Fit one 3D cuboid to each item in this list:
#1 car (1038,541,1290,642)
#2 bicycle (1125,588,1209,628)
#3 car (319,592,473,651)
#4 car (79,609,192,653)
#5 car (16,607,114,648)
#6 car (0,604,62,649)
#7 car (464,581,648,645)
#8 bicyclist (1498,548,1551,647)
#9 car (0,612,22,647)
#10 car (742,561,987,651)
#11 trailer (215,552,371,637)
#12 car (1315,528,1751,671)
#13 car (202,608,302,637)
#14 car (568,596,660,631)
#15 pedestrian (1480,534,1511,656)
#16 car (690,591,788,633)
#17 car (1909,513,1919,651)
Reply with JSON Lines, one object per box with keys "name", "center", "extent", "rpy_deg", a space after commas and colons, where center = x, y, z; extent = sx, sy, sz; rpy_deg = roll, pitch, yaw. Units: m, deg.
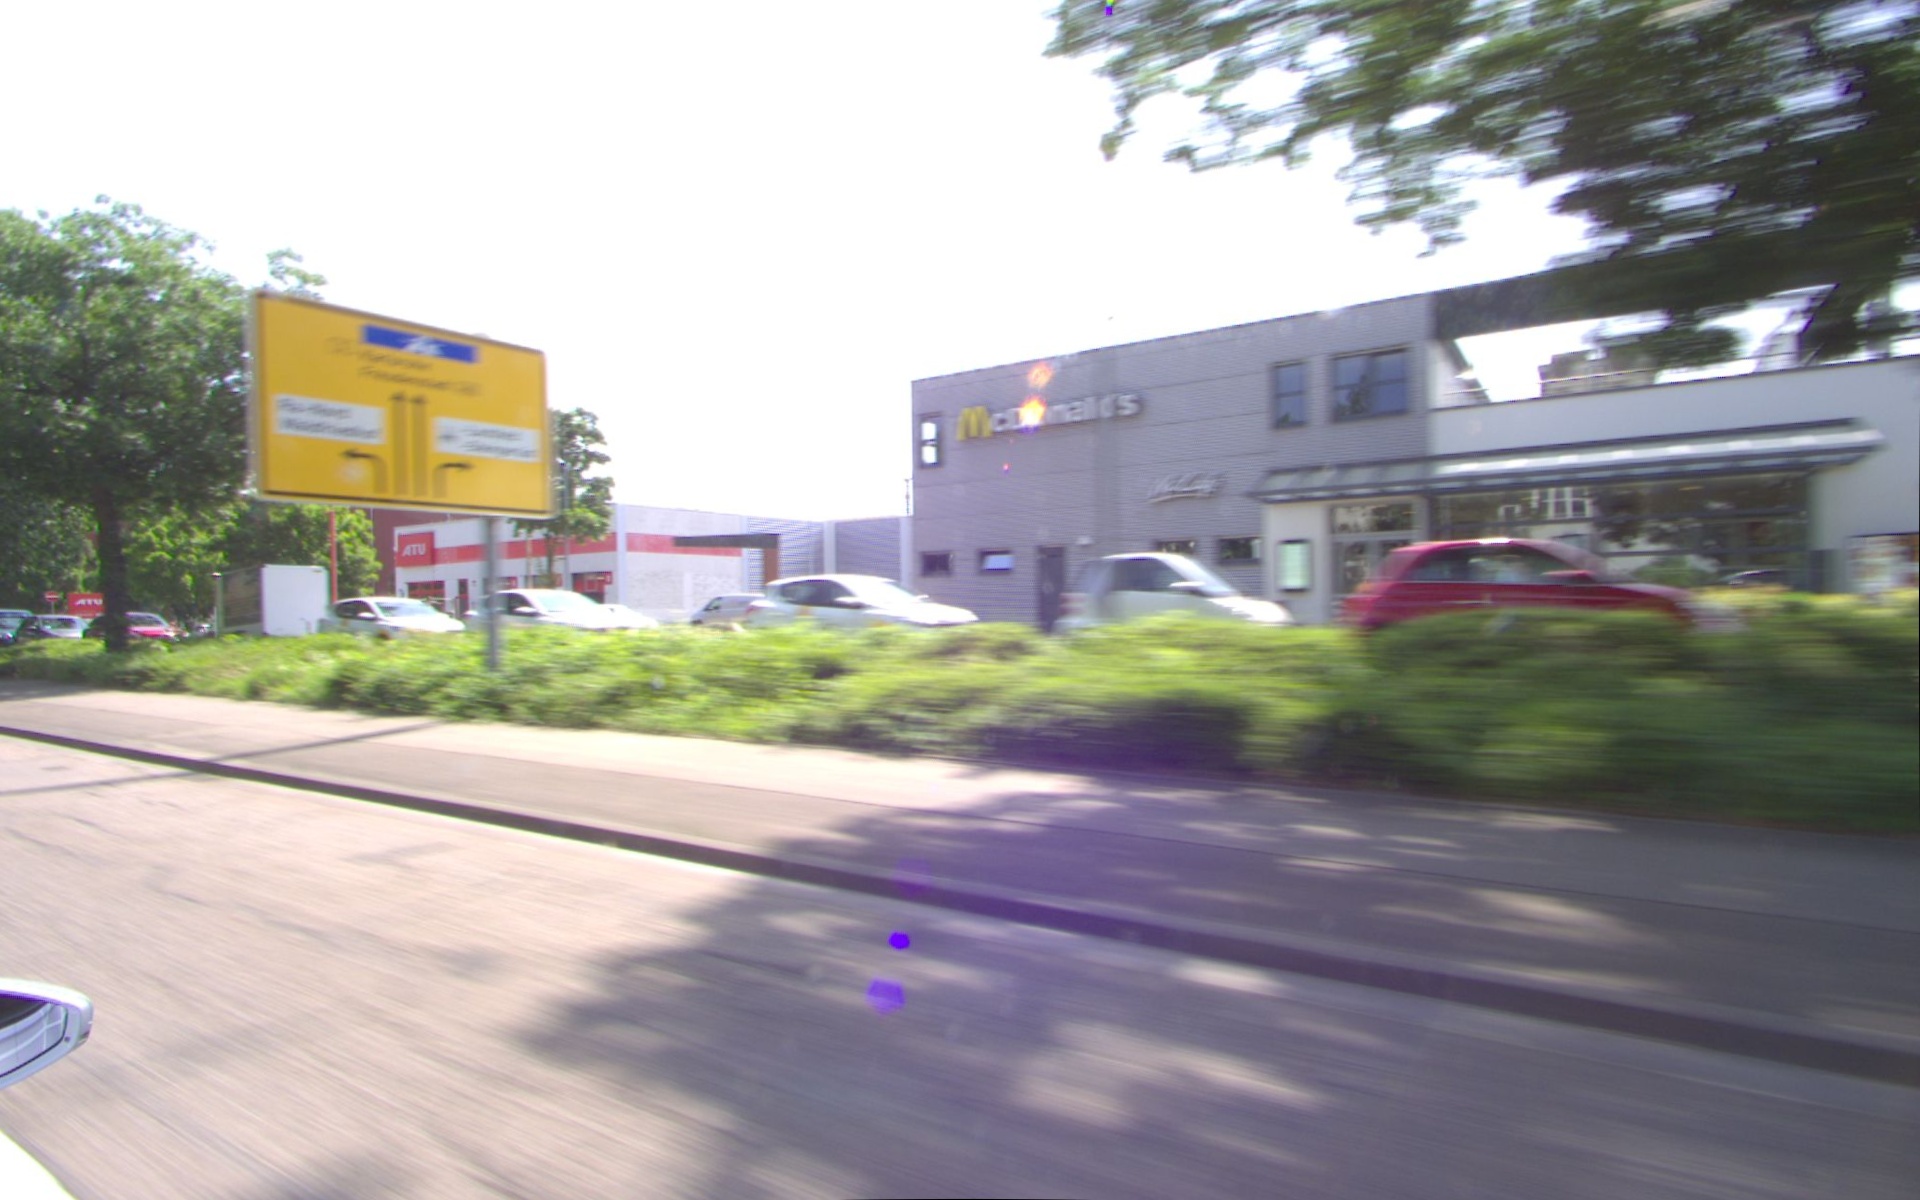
{"name": "car", "center": [2.595, -0.057, 12.796], "extent": [2.815, 1.137, 1.505], "rpy_deg": [-2, -2, 32]}
{"name": "bicycle", "center": [5.361, 0.215, 26.000], "extent": [2.073, 0.993, 0.587], "rpy_deg": [-1, 1, 35]}
{"name": "car", "center": [-13.161, 0.529, 23.329], "extent": [3.579, 1.269, 1.616], "rpy_deg": [-2, -2, 32]}
{"name": "car", "center": [-27.443, 1.011, 33.311], "extent": [4.263, 1.398, 1.697], "rpy_deg": [-1, -1, 33]}
{"name": "car", "center": [-32.522, 0.983, 36.366], "extent": [3.850, 1.398, 1.697], "rpy_deg": [-1, -1, 33]}
{"name": "car", "center": [-37.030, 1.053, 39.417], "extent": [3.854, 1.659, 1.696], "rpy_deg": [-2, -1, 35]}
{"name": "car", "center": [-8.056, 0.298, 19.904], "extent": [3.686, 1.173, 1.590], "rpy_deg": [-2, -2, 33]}
{"name": "bicyclist", "center": [10.655, -0.045, 18.896], "extent": [0.851, 1.828, 0.777], "rpy_deg": [0, 1, 31]}
{"name": "car", "center": [-41.663, 1.278, 42.674], "extent": [4.595, 1.443, 1.695], "rpy_deg": [-2, -1, 37]}
{"name": "car", "center": [-1.587, 0.153, 15.991], "extent": [3.817, 1.269, 1.614], "rpy_deg": [-2, -2, 37]}
{"name": "trailer", "center": [-17.865, -0.094, 26.700], "extent": [5.411, 2.082, 1.695], "rpy_deg": [-1, 0, 36]}
{"name": "car", "center": [5.845, 0.058, 10.564], "extent": [3.709, 1.269, 1.616], "rpy_deg": [-2, -2, 31]}
{"name": "car", "center": [-38.133, 1.189, 54.036], "extent": [1.914, 1.461, 3.979], "rpy_deg": [-1, 0, 32]}
{"name": "car", "center": [-13.868, 0.538, 40.103], "extent": [3.724, 1.357, 1.579], "rpy_deg": [-1, 0, 34]}
{"name": "pedestrian", "center": [8.731, -0.074, 16.321], "extent": [0.403, 1.947, 0.580], "rpy_deg": [0, 1, 33]}
{"name": "car", "center": [-10.194, 0.562, 46.052], "extent": [4.566, 1.829, 1.705], "rpy_deg": [-1, 0, 33]}
{"name": "car", "center": [10.292, -0.241, 7.658], "extent": [4.142, 1.268, 1.616], "rpy_deg": [-2, -3, 34]}
